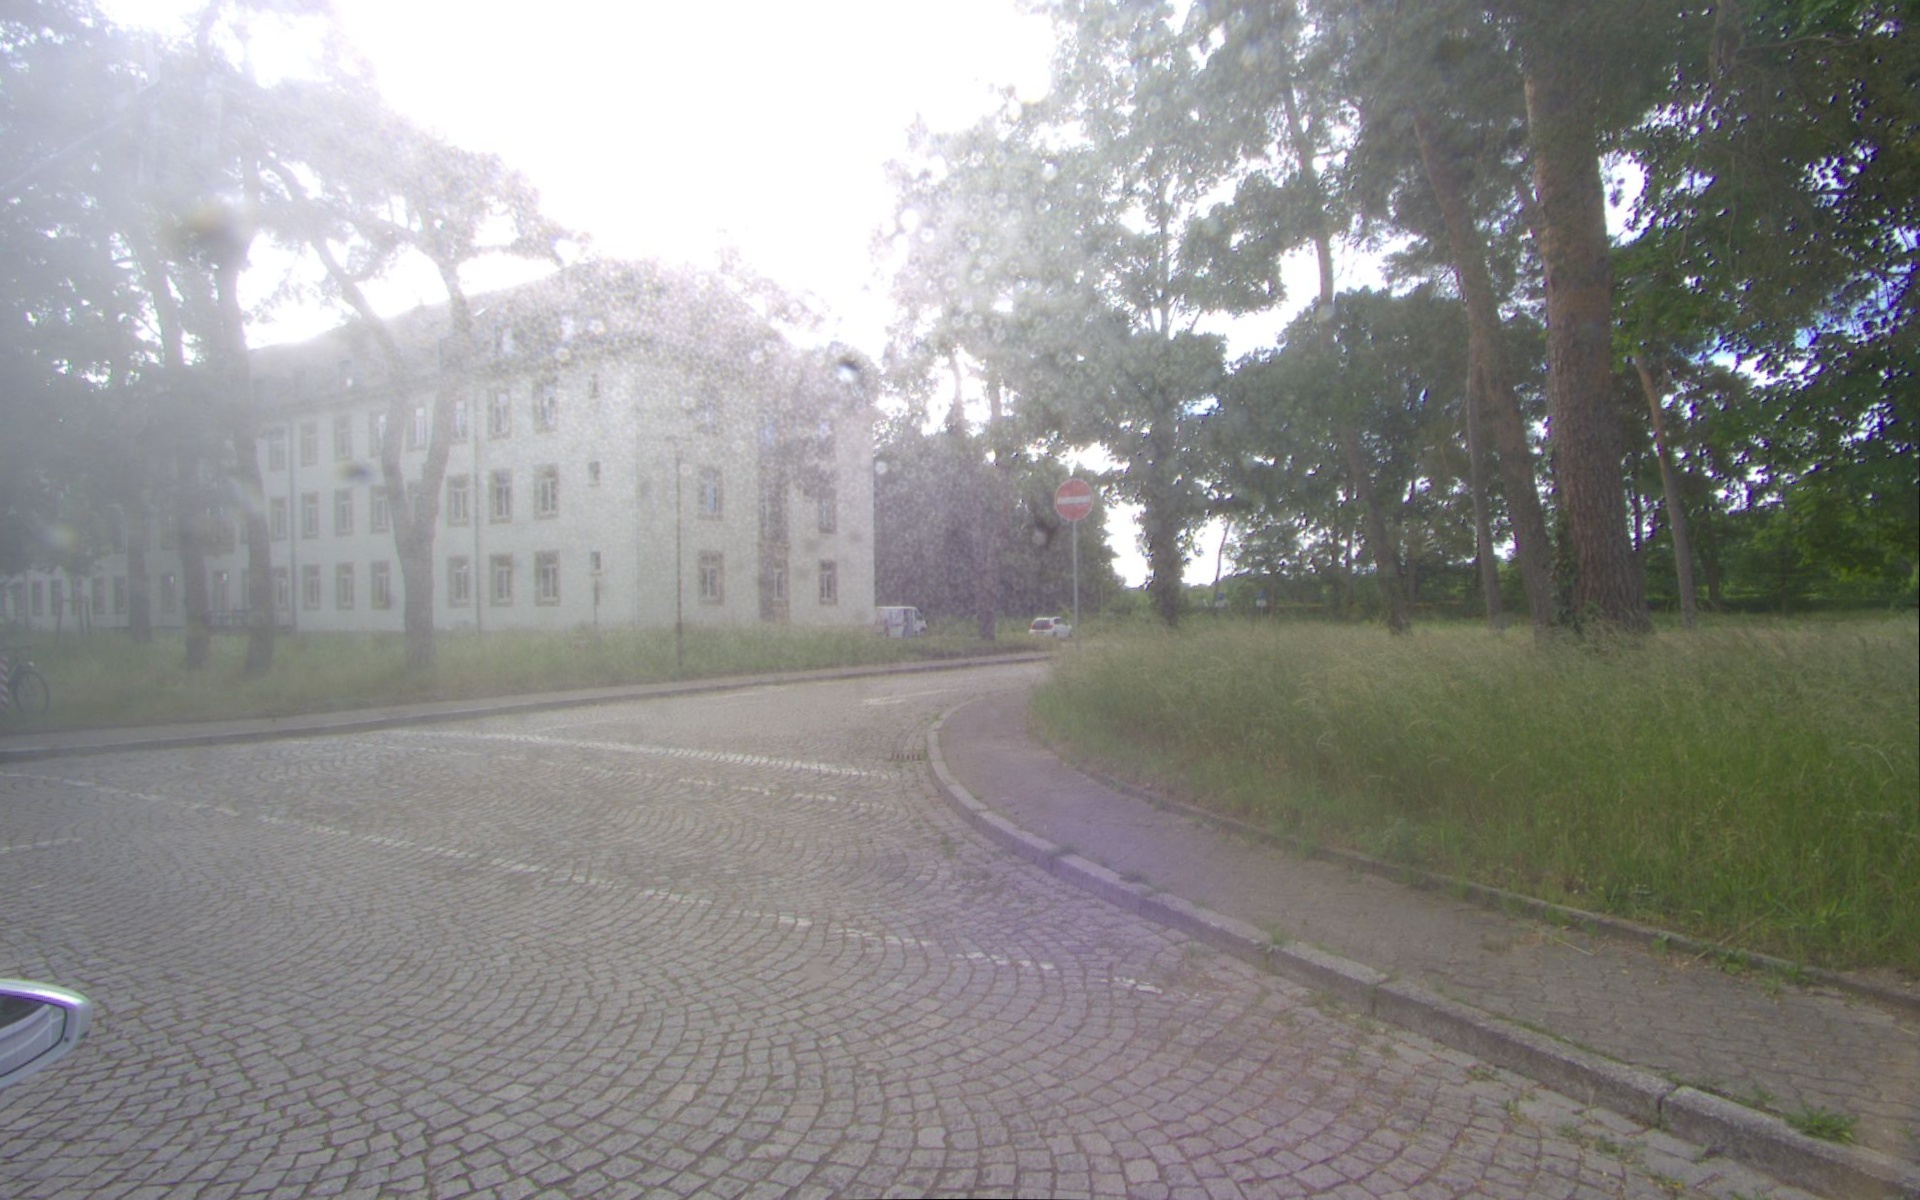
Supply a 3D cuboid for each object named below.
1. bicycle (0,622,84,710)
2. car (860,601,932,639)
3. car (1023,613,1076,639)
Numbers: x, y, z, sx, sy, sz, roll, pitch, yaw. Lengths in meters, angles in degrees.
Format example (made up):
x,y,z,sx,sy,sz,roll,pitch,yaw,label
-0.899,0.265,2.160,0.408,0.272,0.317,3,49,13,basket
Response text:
x,y,z,sx,sy,sz,roll,pitch,yaw,label
-13.713,0.929,14.543,1.845,1.192,0.908,-1,0,29,bicycle
-4.148,1.291,65.438,2.180,2.318,5.173,-1,-1,30,car
5.457,1.544,60.843,1.970,1.527,3.477,-1,-1,30,car
